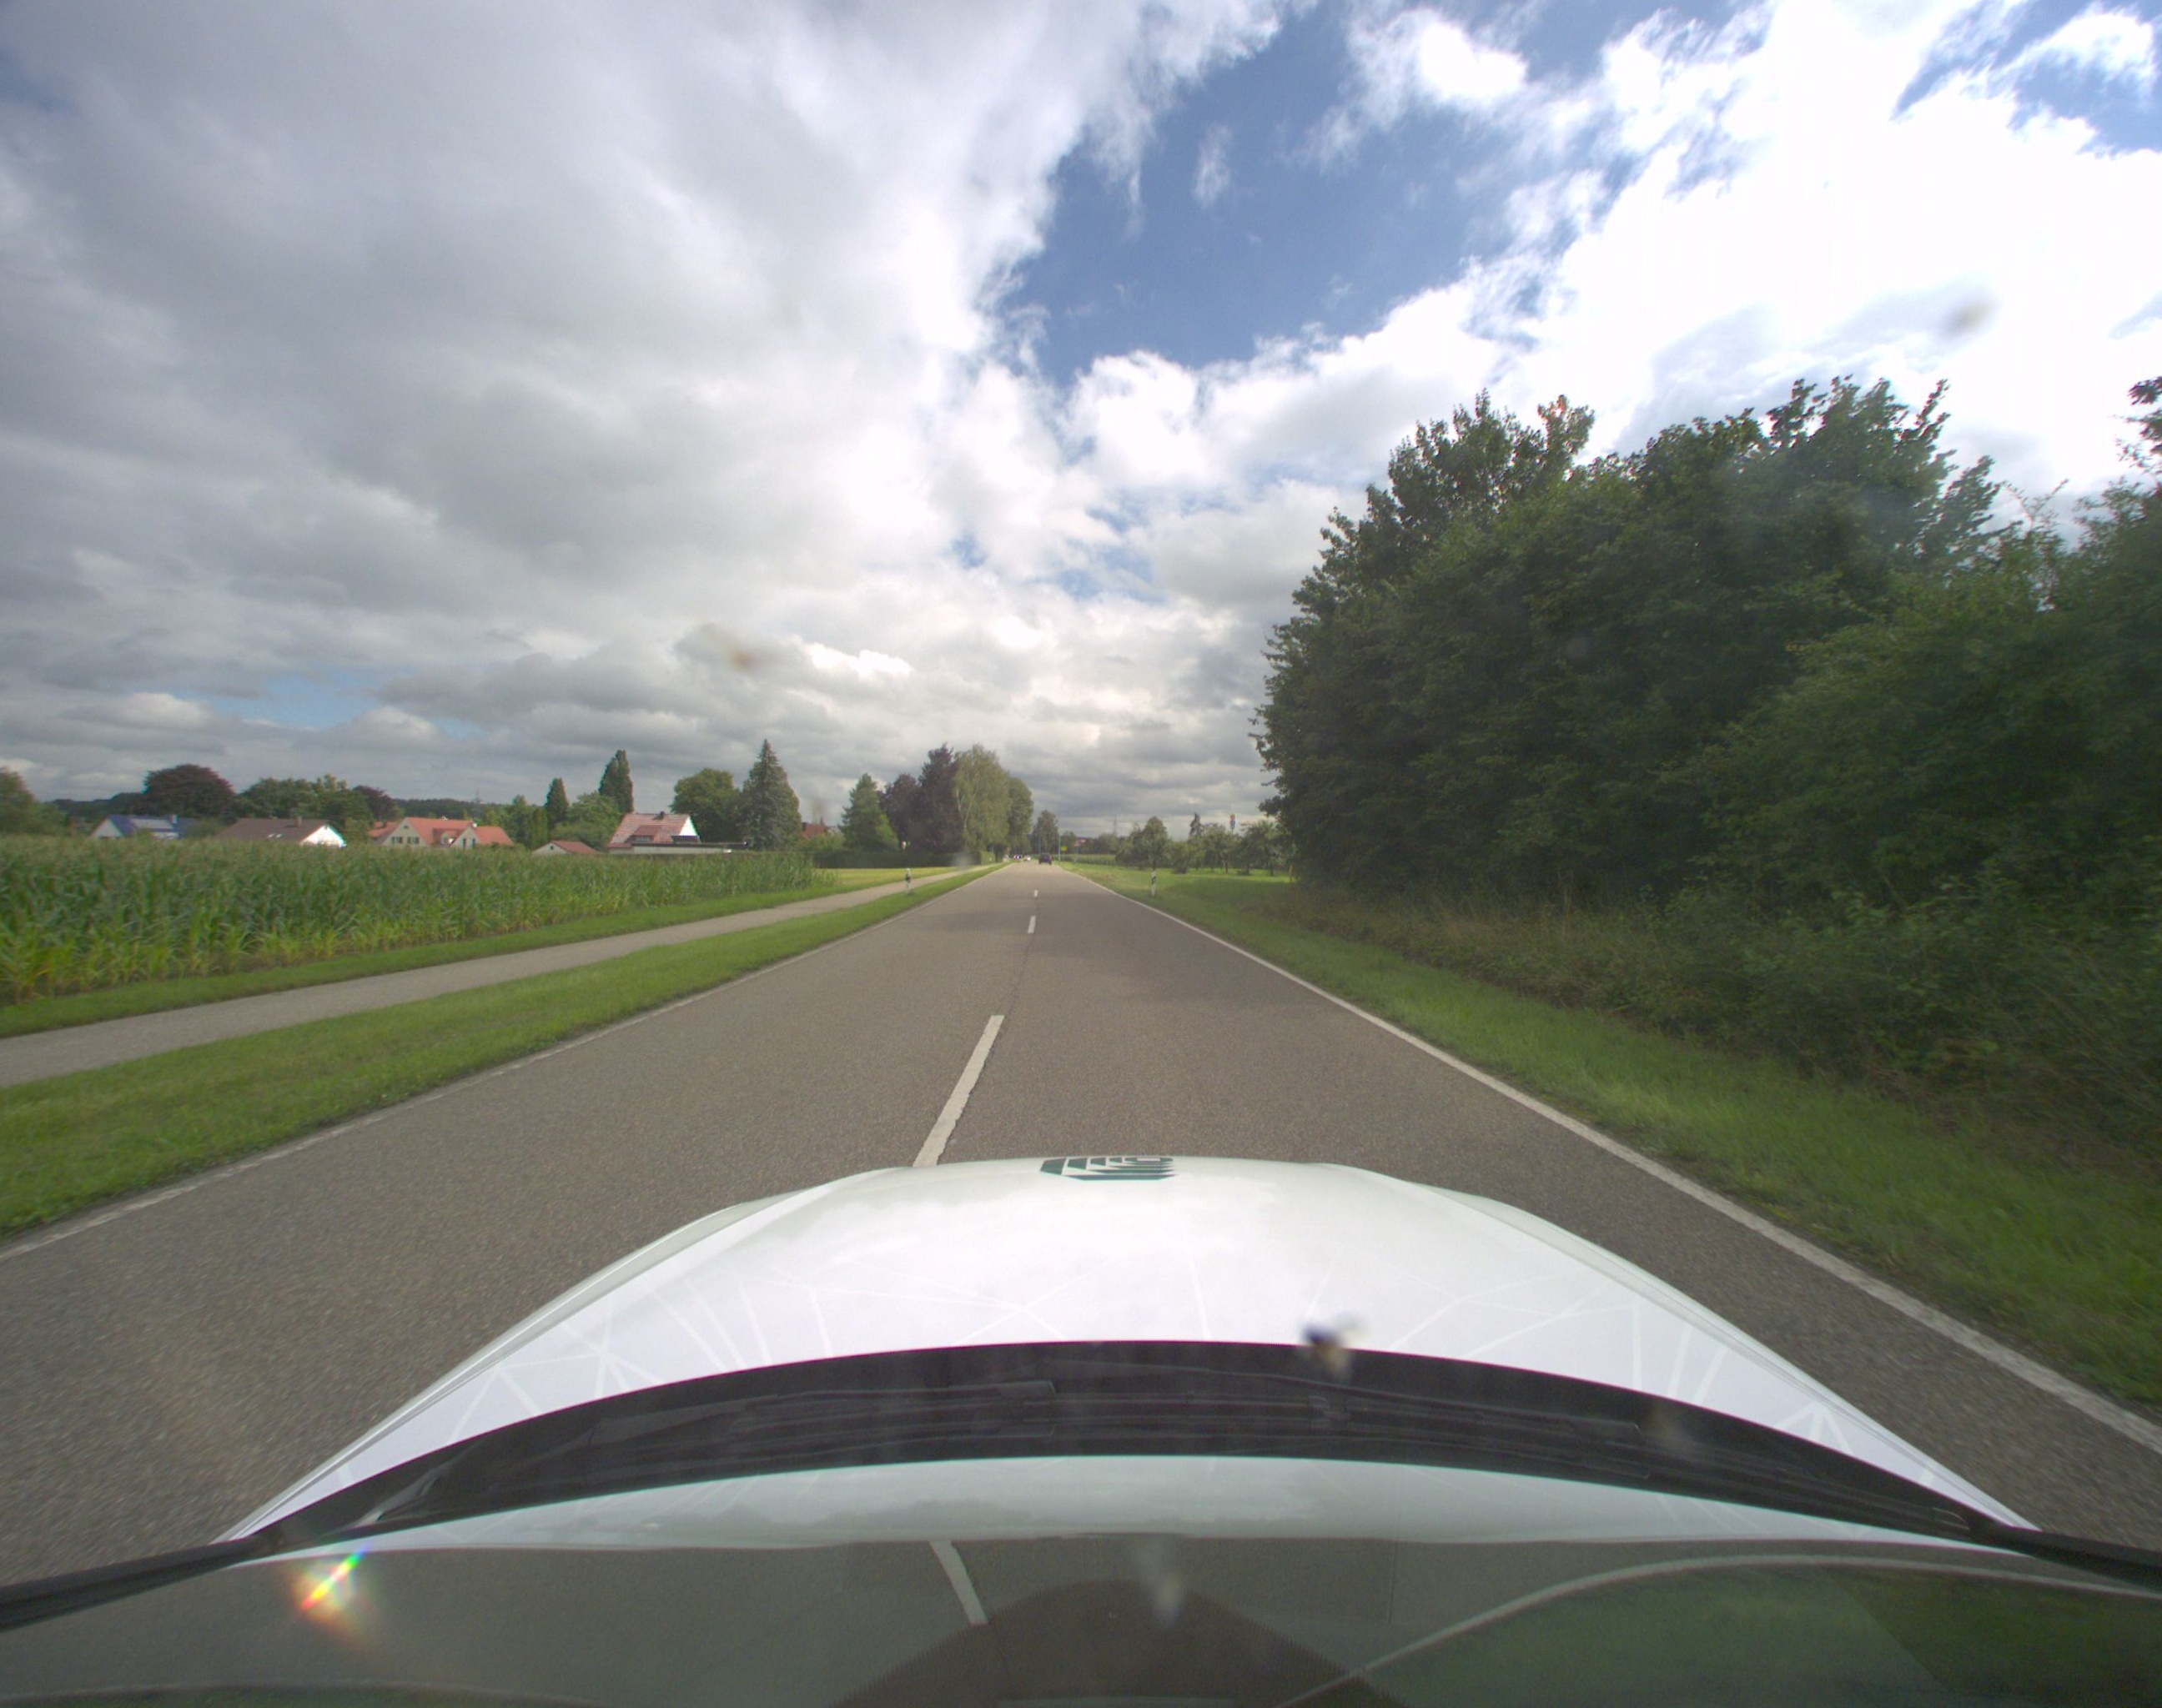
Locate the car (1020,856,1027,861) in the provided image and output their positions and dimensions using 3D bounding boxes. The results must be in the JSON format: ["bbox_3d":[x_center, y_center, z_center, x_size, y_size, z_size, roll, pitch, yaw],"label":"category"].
[{"bbox_3d":[-15.320,1.190,216.410,1.691,1.459,3.539,0,0,-3],"label":"car"}]

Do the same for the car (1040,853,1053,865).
[{"bbox_3d":[-5.194,0.748,120.828,1.902,1.666,3.995,0,0,-3],"label":"car"}]
